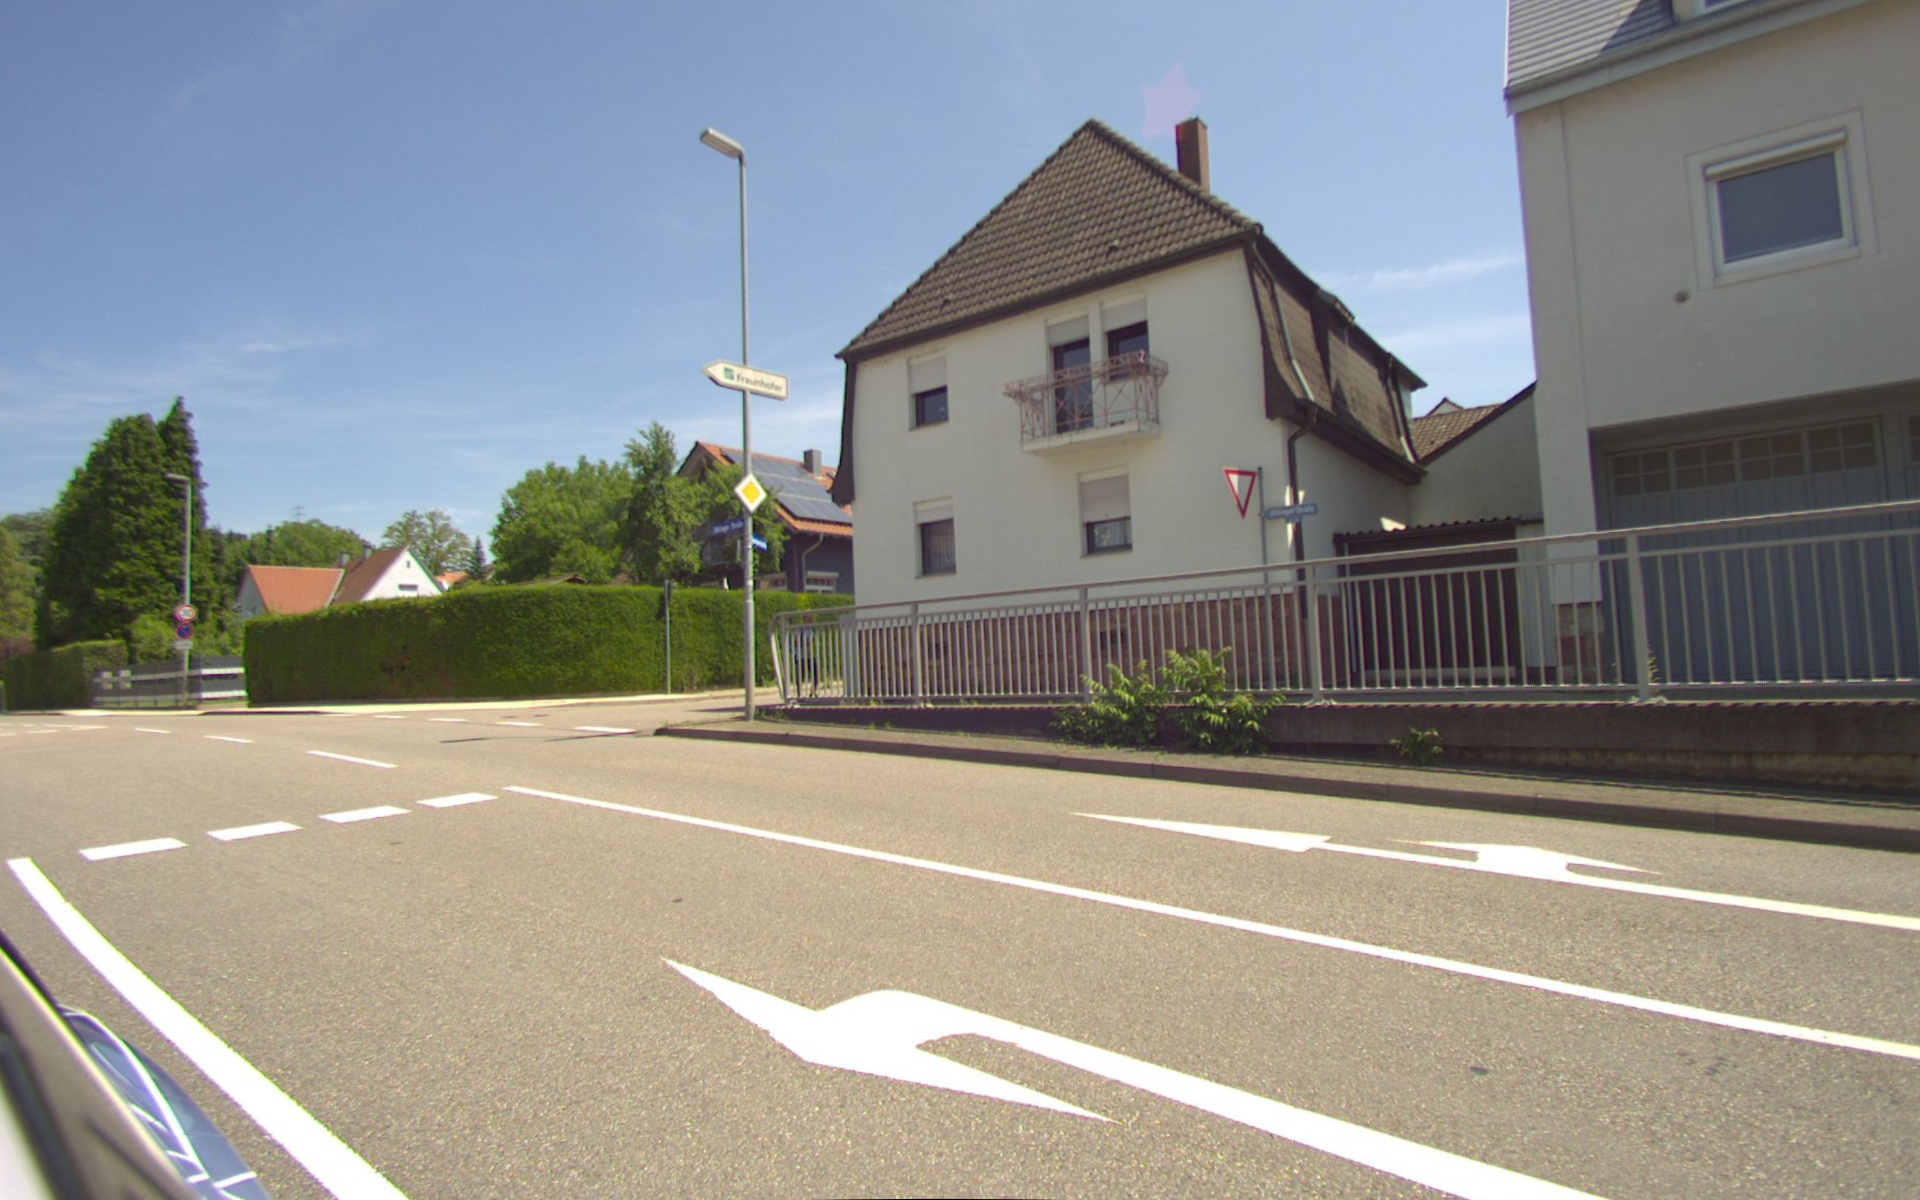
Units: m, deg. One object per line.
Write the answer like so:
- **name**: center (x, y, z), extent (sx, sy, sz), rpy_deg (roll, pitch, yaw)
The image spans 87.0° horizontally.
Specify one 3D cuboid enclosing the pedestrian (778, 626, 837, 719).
- **pedestrian**: center (-2.983, 1.396, 19.770), extent (0.854, 1.742, 0.720), rpy_deg (-2, -1, 37)
